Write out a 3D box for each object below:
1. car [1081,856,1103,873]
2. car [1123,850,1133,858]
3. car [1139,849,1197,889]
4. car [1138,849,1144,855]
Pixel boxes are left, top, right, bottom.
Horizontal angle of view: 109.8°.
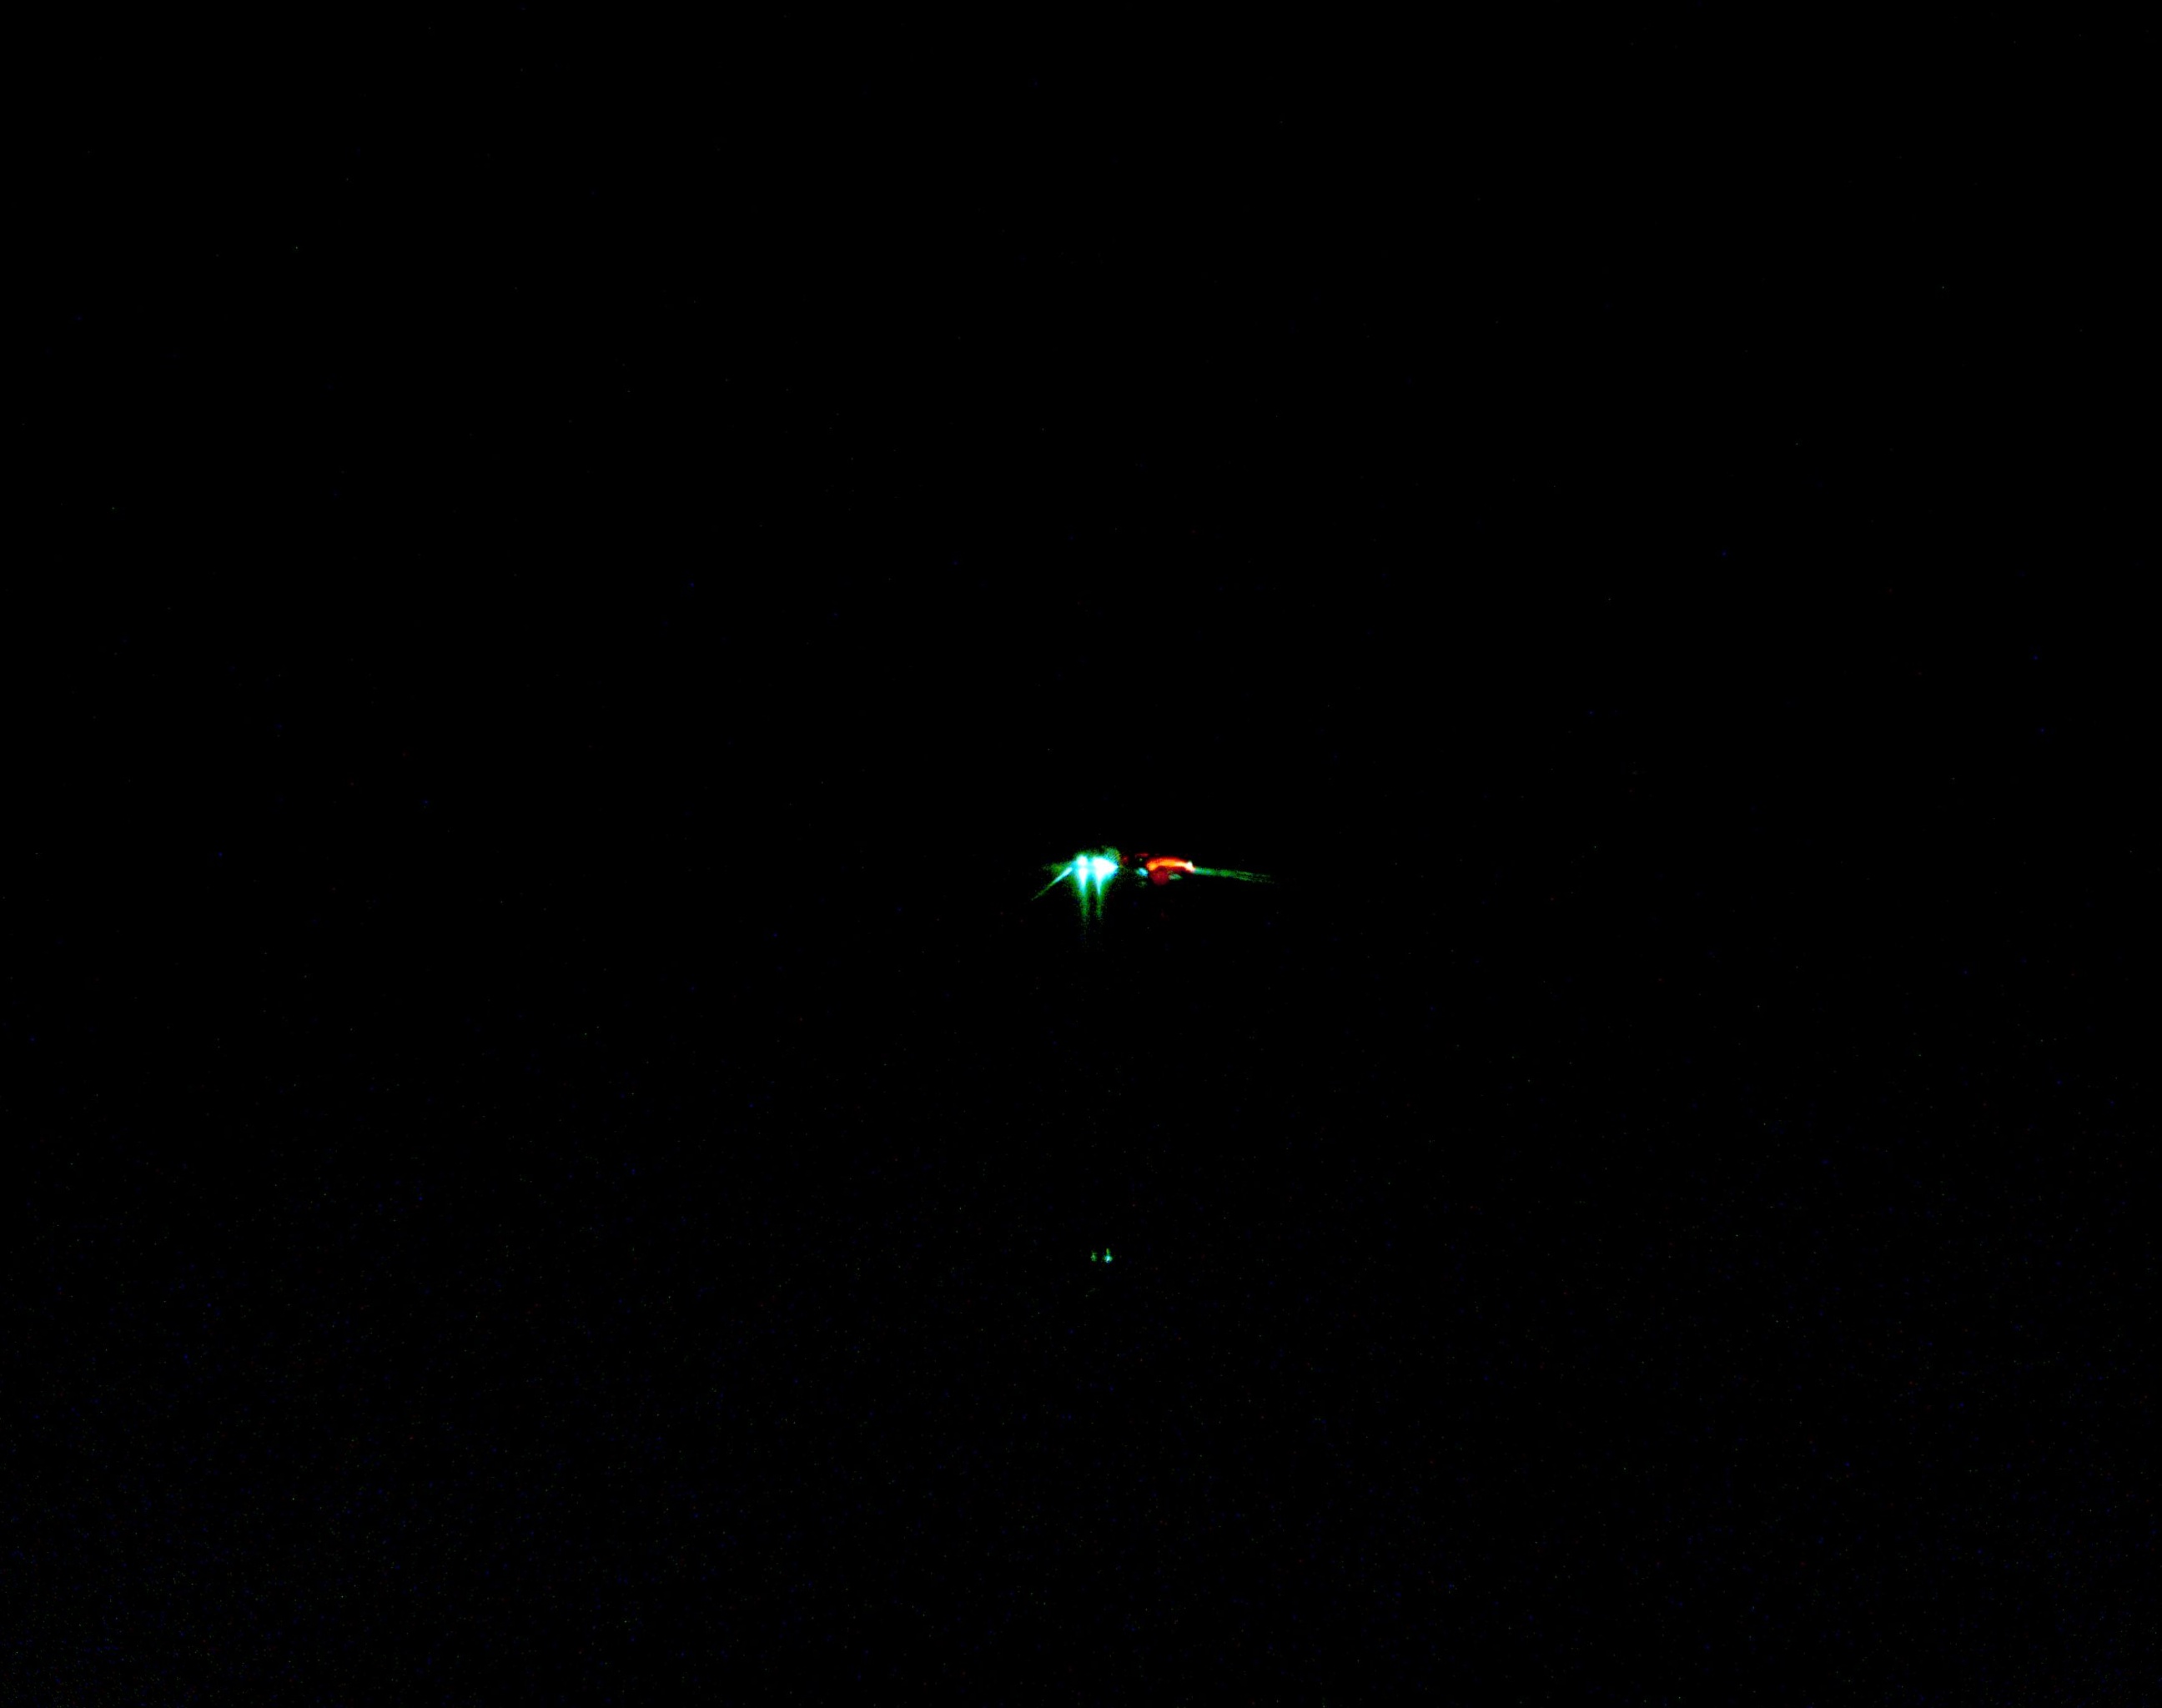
[{"bbox_3d":[1.209,1.126,82.276,1.998,1.724,4.001,1,0,5],"label":"car"},{"bbox_3d":[9.244,-0.076,149.864,1.834,1.559,3.780,0,1,2],"label":"car"},{"bbox_3d":[3.752,0.588,33.400,2.102,1.630,4.455,0,1,1],"label":"car"},{"bbox_3d":[19.066,-0.613,241.134,1.998,1.812,4.001,0,1,4],"label":"car"}]
